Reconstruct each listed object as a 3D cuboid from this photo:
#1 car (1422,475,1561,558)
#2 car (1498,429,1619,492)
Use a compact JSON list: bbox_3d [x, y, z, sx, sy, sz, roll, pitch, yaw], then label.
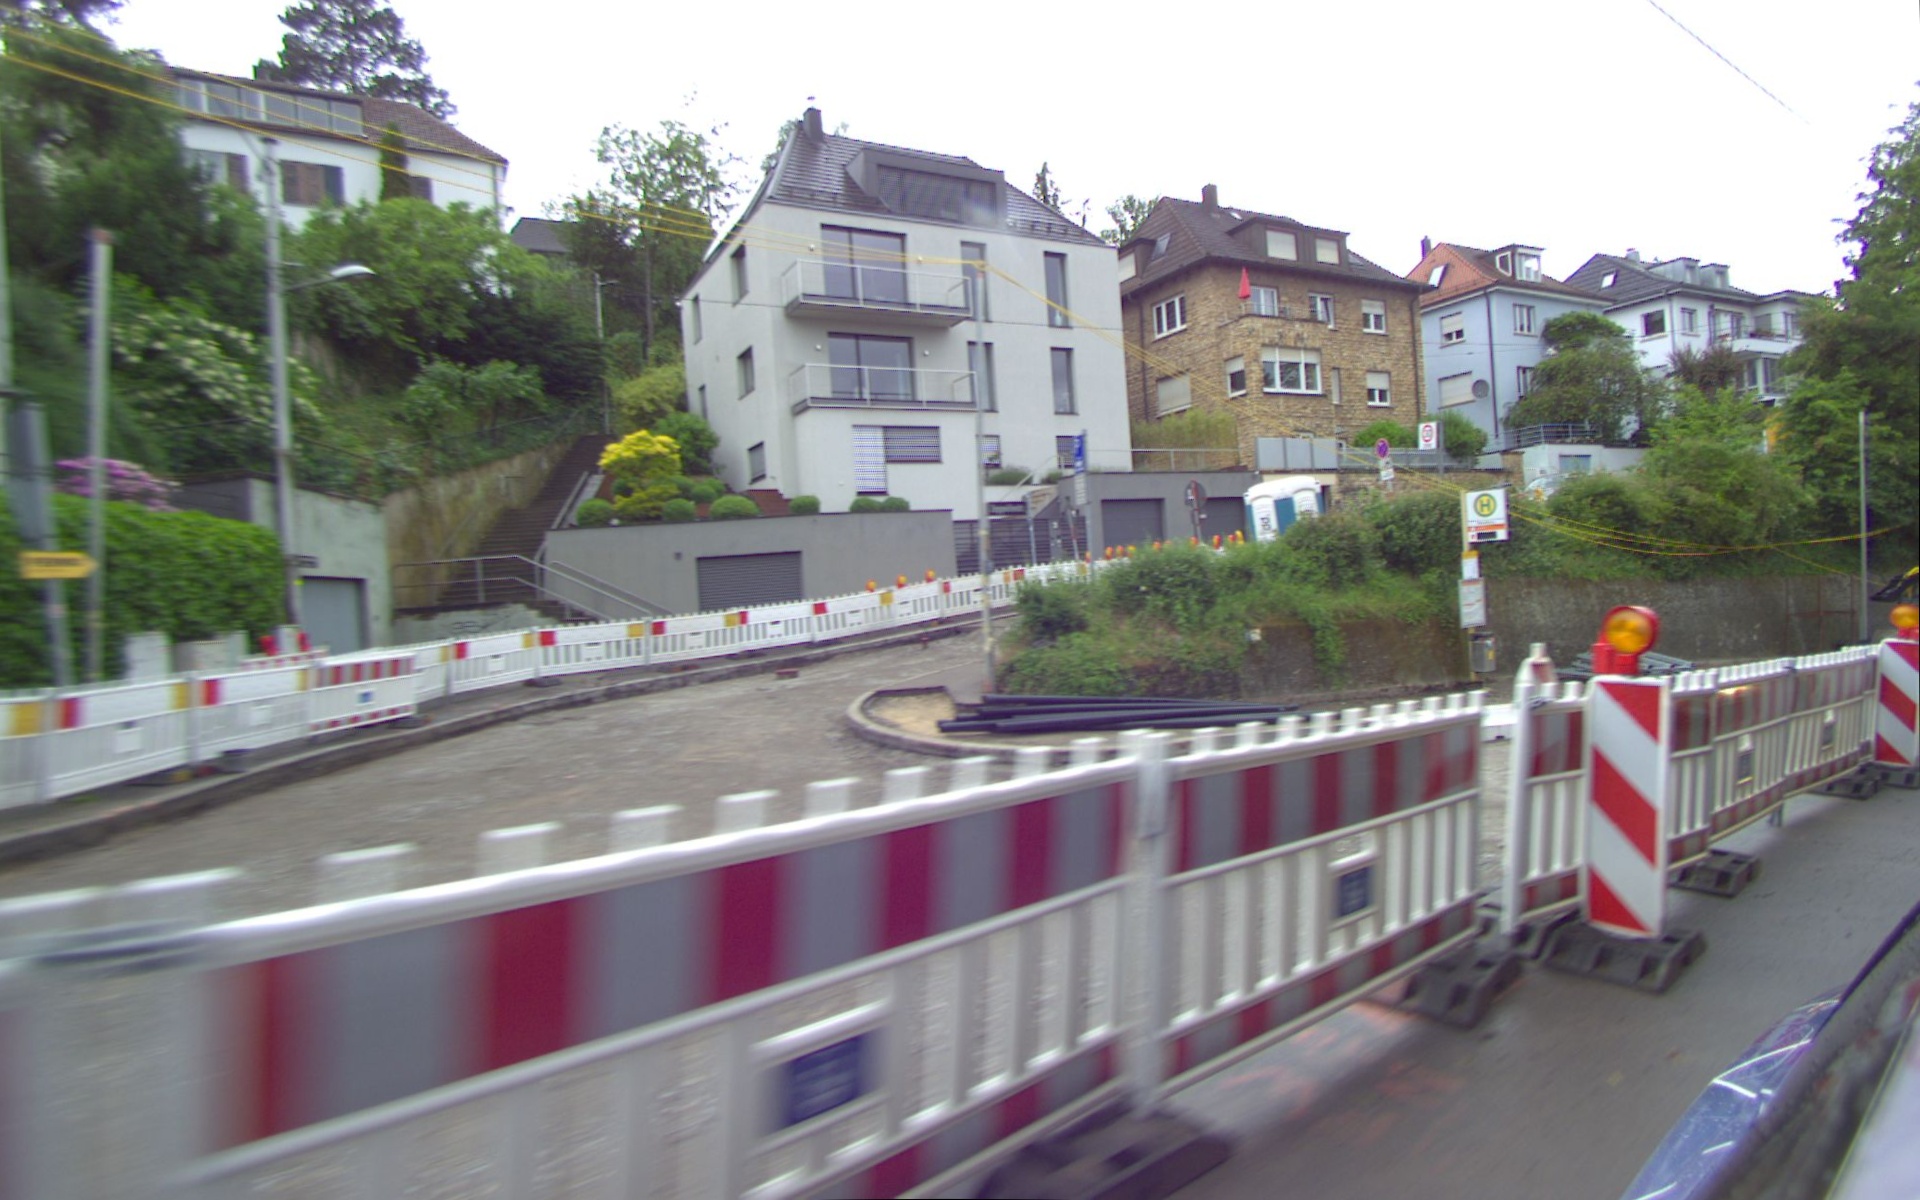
[{"bbox_3d":[17.713,-2.792,33.671,4.347,2.101,1.904,-10,5,-29],"label":"car"},{"bbox_3d":[21.125,-4.935,35.702,3.890,1.653,1.863,-10,5,-29],"label":"car"}]
